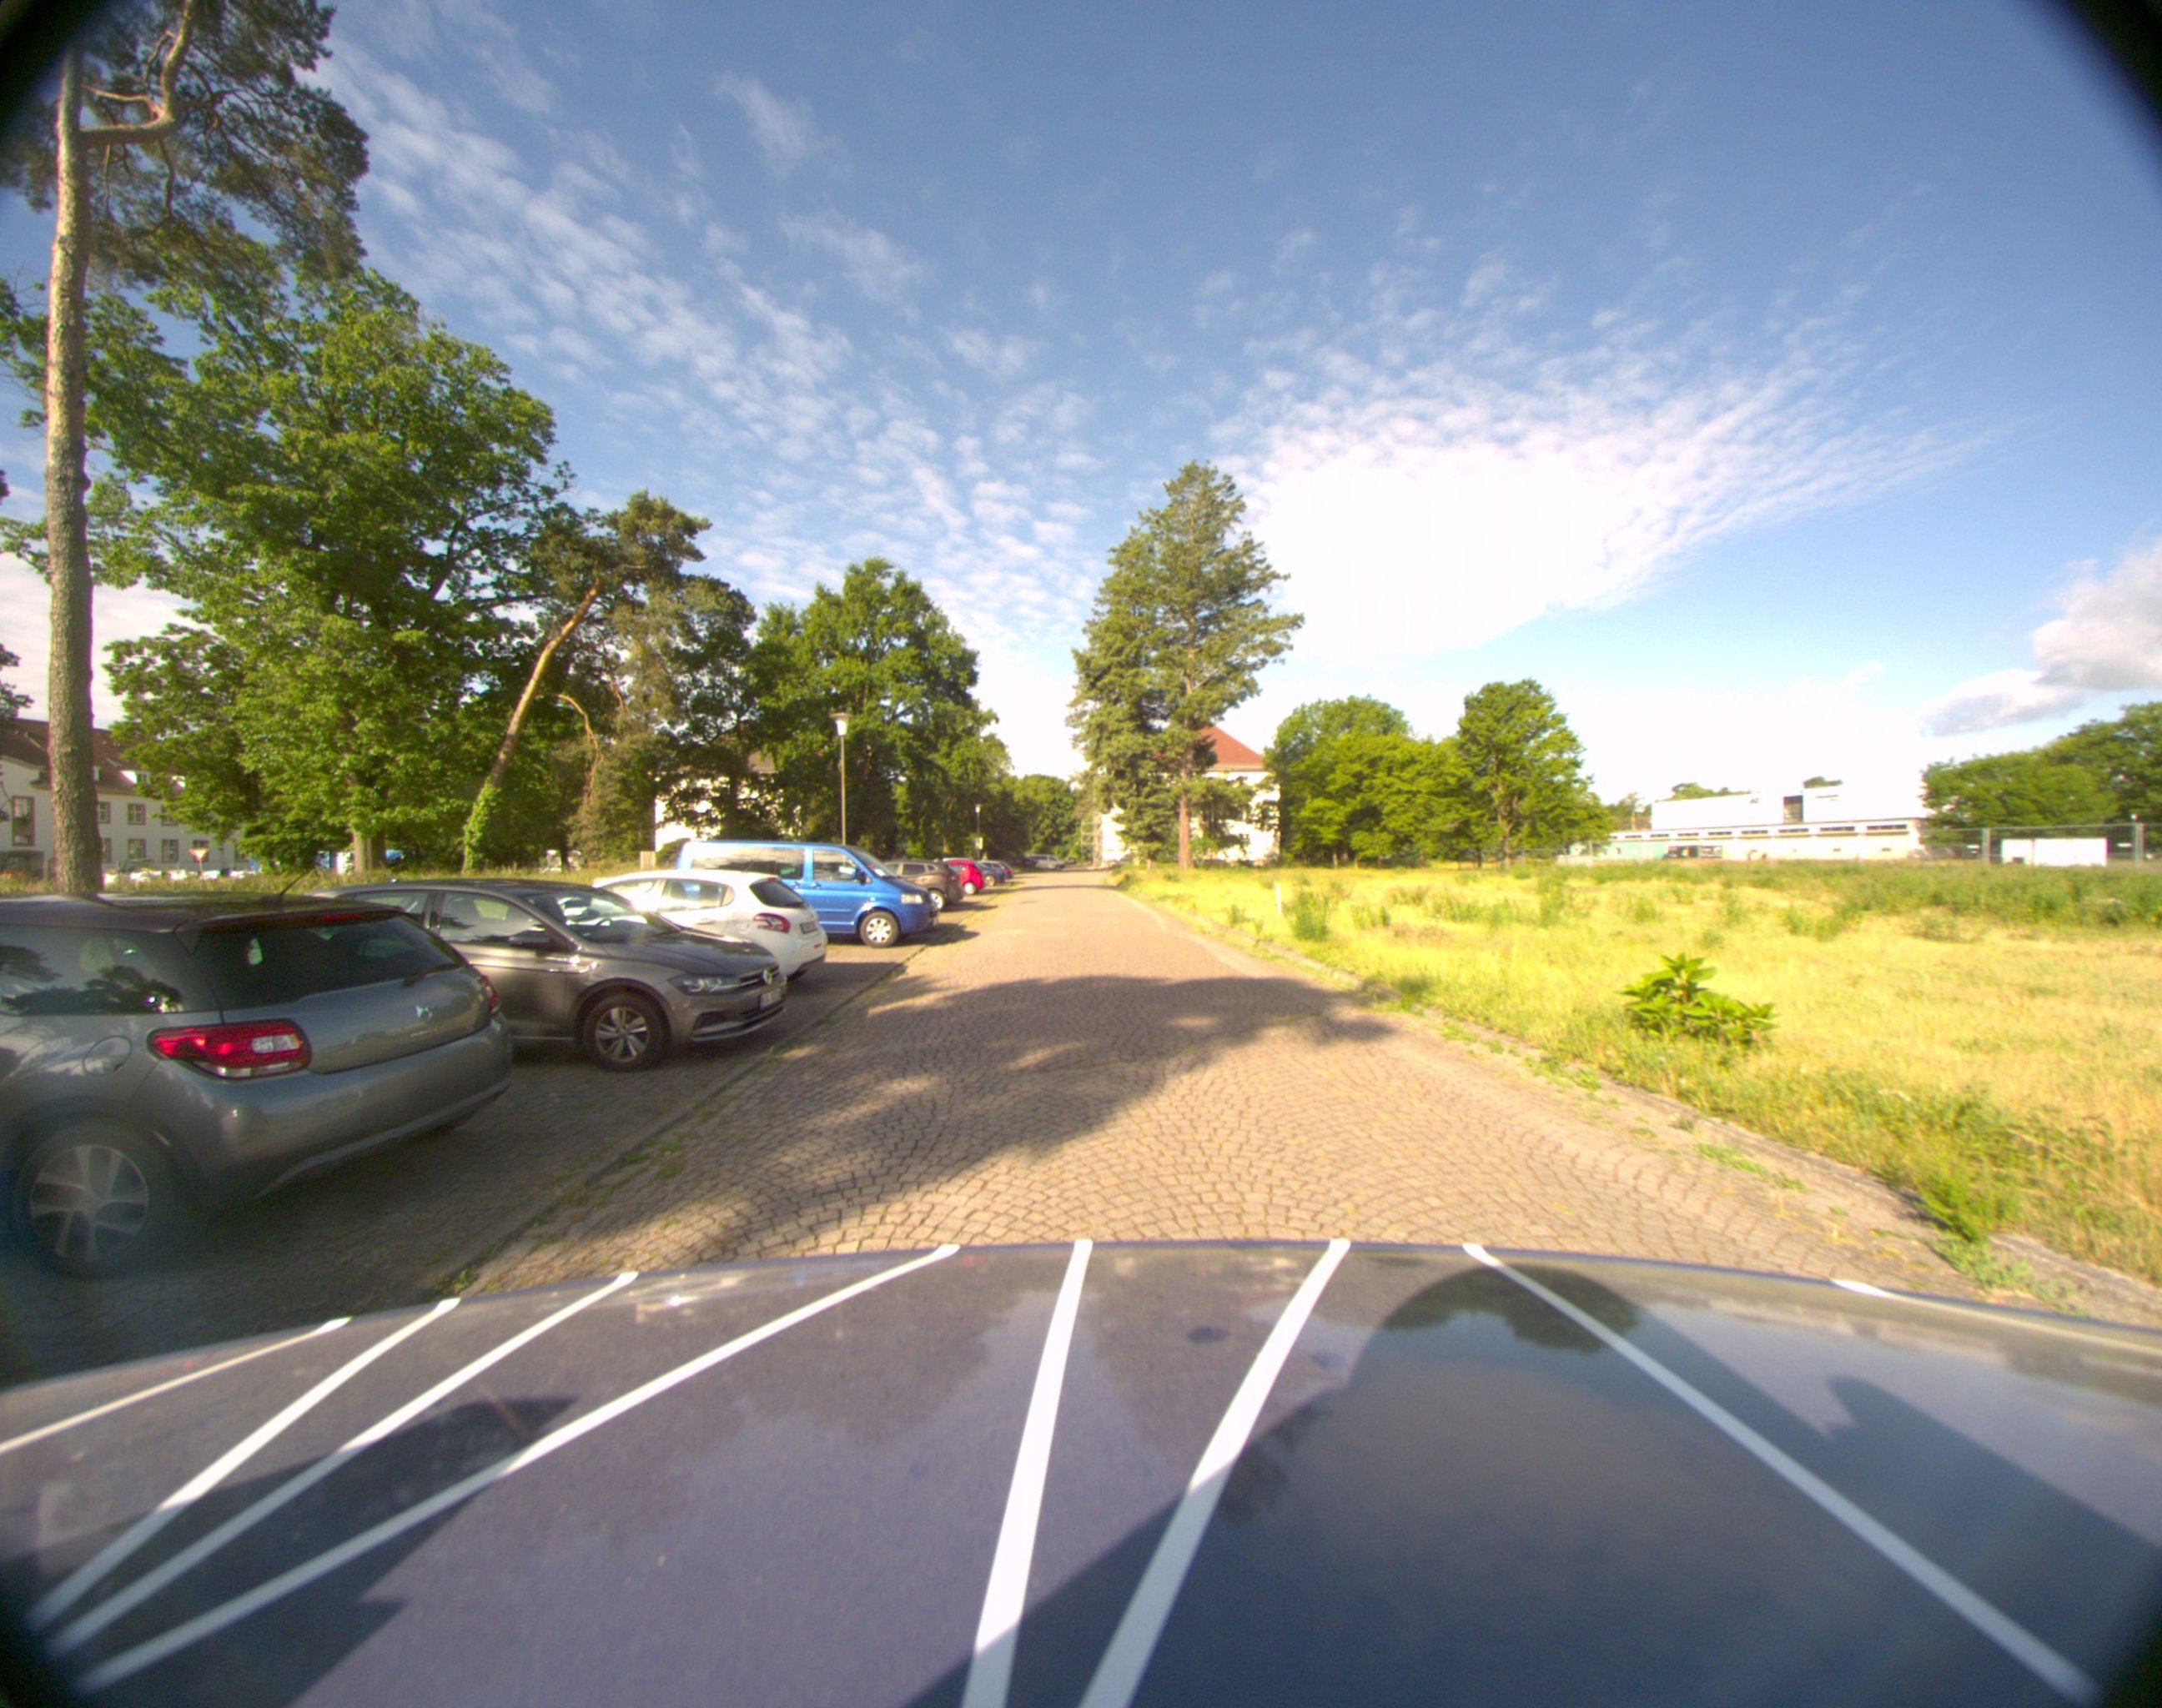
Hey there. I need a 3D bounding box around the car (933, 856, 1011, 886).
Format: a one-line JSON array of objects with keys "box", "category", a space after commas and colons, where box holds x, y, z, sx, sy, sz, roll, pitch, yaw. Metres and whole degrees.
[{"box": [-6.264, 0.965, 44.065, 4.274, 1.589, 1.651, -1, 0, -3], "category": "car"}]

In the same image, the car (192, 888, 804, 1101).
[{"box": [-4.558, 1.065, 6.412, 3.790, 1.442, 1.757, 1, 0, -1], "category": "car"}]

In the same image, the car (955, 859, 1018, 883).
[{"box": [-6.056, 1.073, 48.904, 3.810, 1.458, 1.747, -1, 0, -1], "category": "car"}]

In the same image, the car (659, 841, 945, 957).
[{"box": [-5.190, 0.811, 14.693, 4.767, 2.002, 2.000, 1, 0, -2], "category": "car"}]

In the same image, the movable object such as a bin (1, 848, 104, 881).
[{"box": [-92.417, 0.899, 68.404, 2.178, 2.884, 5.074, 0, 0, 5], "category": "movable object such as a bin"}]

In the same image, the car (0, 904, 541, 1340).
[{"box": [-4.984, 1.029, 3.556, 3.673, 1.446, 1.666, 1, 0, -2], "category": "car"}]

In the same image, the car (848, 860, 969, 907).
[{"box": [-5.893, 1.002, 26.319, 3.835, 1.530, 1.703, 0, 0, -2], "category": "car"}]

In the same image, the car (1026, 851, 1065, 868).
[{"box": [-4.587, 0.658, 97.799, 4.995, 2.123, 2.164, -1, 0, -4], "category": "car"}]

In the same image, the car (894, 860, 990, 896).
[{"box": [-6.111, 1.035, 33.778, 3.998, 1.486, 1.540, -1, 0, -3], "category": "car"}]

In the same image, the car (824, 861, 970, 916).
[{"box": [-5.591, 1.032, 23.533, 4.119, 1.601, 1.785, 0, 0, -4], "category": "car"}]

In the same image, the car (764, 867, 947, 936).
[{"box": [-5.026, 1.051, 17.330, 3.731, 1.458, 1.609, 1, 0, -4], "category": "car"}]

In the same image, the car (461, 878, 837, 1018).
[{"box": [-5.094, 1.073, 9.340, 3.655, 1.483, 1.634, 0, 0, -2], "category": "car"}]
